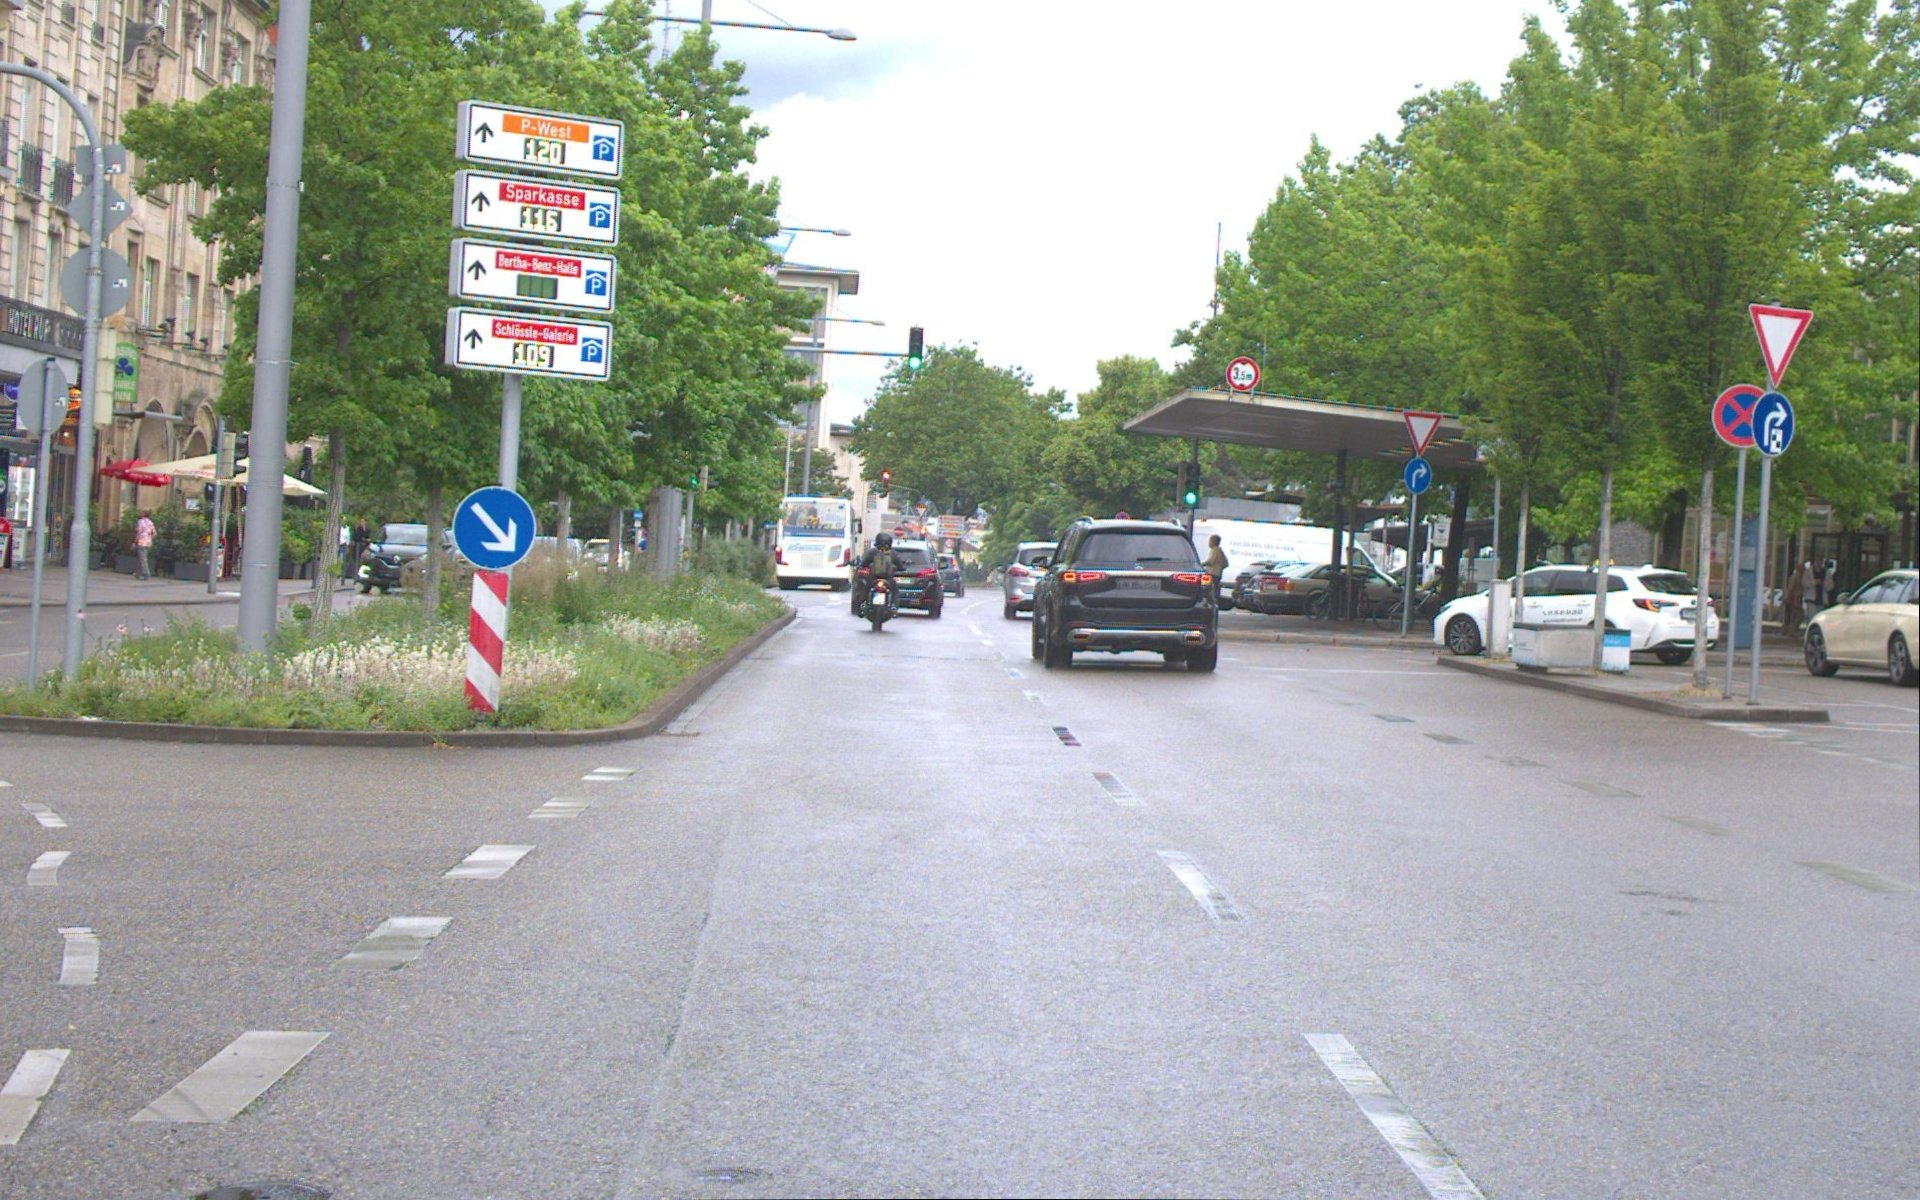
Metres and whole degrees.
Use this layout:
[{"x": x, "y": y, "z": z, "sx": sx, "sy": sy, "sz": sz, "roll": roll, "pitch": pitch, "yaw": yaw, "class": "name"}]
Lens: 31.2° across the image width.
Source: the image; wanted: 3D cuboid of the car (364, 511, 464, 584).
[{"x": -11.928, "y": -1.149, "z": 75.318, "sx": 1.771, "sy": 1.525, "sz": 4.079, "roll": 1, "pitch": 1, "yaw": -4, "class": "car"}]

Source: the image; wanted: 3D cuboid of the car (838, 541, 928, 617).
[{"x": -1.516, "y": -0.434, "z": 68.508, "sx": 1.708, "sy": 1.443, "sz": 4.000, "roll": 1, "pitch": 1, "yaw": -1, "class": "car"}]

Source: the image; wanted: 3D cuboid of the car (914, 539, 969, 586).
[{"x": -0.615, "y": -1.218, "z": 110.463, "sx": 1.708, "sy": 1.469, "sz": 4.000, "roll": 1, "pitch": 1, "yaw": -1, "class": "car"}]

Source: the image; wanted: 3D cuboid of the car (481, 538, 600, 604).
[{"x": -9.072, "y": -0.649, "z": 74.744, "sx": 1.724, "sy": 1.377, "sz": 4.859, "roll": 1, "pitch": 1, "yaw": 3, "class": "car"}]

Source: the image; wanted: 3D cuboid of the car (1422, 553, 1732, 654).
[{"x": 9.118, "y": 0.032, "z": 51.070, "sx": 1.774, "sy": 1.380, "sz": 4.366, "roll": 0, "pitch": 1, "yaw": -41, "class": "car"}]

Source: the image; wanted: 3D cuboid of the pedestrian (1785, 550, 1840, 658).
[{"x": 16.000, "y": 0.068, "z": 64.531, "sx": 0.769, "sy": 2.007, "sz": 0.828, "roll": 1, "pitch": 1, "yaw": -2, "class": "pedestrian"}]

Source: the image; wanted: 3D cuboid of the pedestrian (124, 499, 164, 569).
[{"x": -17.572, "y": -1.418, "z": 74.003, "sx": 0.661, "sy": 1.505, "sz": 0.519, "roll": 1, "pitch": 1, "yaw": -38, "class": "pedestrian"}]

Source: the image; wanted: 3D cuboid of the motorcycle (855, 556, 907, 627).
[{"x": -1.244, "y": -0.145, "z": 54.551, "sx": 0.766, "sy": 1.073, "sz": 2.175, "roll": 2, "pitch": 1, "yaw": 0, "class": "motorcycle"}]

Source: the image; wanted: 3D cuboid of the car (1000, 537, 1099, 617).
[{"x": 1.804, "y": -0.483, "z": 70.579, "sx": 1.851, "sy": 1.562, "sz": 4.000, "roll": 1, "pitch": 1, "yaw": -1, "class": "car"}]

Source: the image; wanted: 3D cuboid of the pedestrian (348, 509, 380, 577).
[{"x": -15.068, "y": -1.438, "z": 86.891, "sx": 0.674, "sy": 1.696, "sz": 0.634, "roll": 1, "pitch": 1, "yaw": -1, "class": "pedestrian"}]

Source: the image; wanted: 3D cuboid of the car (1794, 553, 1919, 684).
[{"x": 12.611, "y": 0.226, "z": 44.293, "sx": 1.993, "sy": 1.594, "sz": 4.824, "roll": 1, "pitch": 1, "yaw": -7, "class": "car"}]

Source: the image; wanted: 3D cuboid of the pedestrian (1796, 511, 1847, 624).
[{"x": 18.451, "y": -0.700, "z": 73.633, "sx": 0.843, "sy": 2.403, "sz": 0.862, "roll": 1, "pitch": 1, "yaw": 1, "class": "pedestrian"}]

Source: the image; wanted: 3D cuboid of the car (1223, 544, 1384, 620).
[{"x": 9.641, "y": -0.512, "z": 96.643, "sx": 3.986, "sy": 2.007, "sz": 2.001, "roll": 1, "pitch": 1, "yaw": -20, "class": "car"}]

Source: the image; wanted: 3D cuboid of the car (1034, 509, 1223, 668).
[{"x": 1.996, "y": -0.182, "z": 42.078, "sx": 1.993, "sy": 1.800, "sz": 4.690, "roll": 1, "pitch": 1, "yaw": -1, "class": "car"}]

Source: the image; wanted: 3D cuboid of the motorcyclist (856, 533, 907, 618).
[{"x": -1.239, "y": -0.391, "z": 54.554, "sx": 0.764, "sy": 1.327, "sz": 0.866, "roll": 2, "pitch": 1, "yaw": 0, "class": "motorcyclist"}]

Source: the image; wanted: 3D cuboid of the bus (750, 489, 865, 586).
[{"x": -5.622, "y": -2.239, "z": 123.937, "sx": 3.760, "sy": 3.198, "sz": 15.528, "roll": 1, "pitch": 1, "yaw": -4, "class": "bus"}]

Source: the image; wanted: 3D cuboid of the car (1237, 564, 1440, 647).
[{"x": 9.058, "y": 0.141, "z": 82.273, "sx": 4.335, "sy": 1.851, "sz": 2.001, "roll": 1, "pitch": 1, "yaw": -20, "class": "car"}]

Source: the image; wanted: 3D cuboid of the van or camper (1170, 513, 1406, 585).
[{"x": 9.843, "y": -1.511, "z": 102.946, "sx": 6.753, "sy": 2.007, "sz": 2.385, "roll": 1, "pitch": 0, "yaw": -26, "class": "van or camper"}]
